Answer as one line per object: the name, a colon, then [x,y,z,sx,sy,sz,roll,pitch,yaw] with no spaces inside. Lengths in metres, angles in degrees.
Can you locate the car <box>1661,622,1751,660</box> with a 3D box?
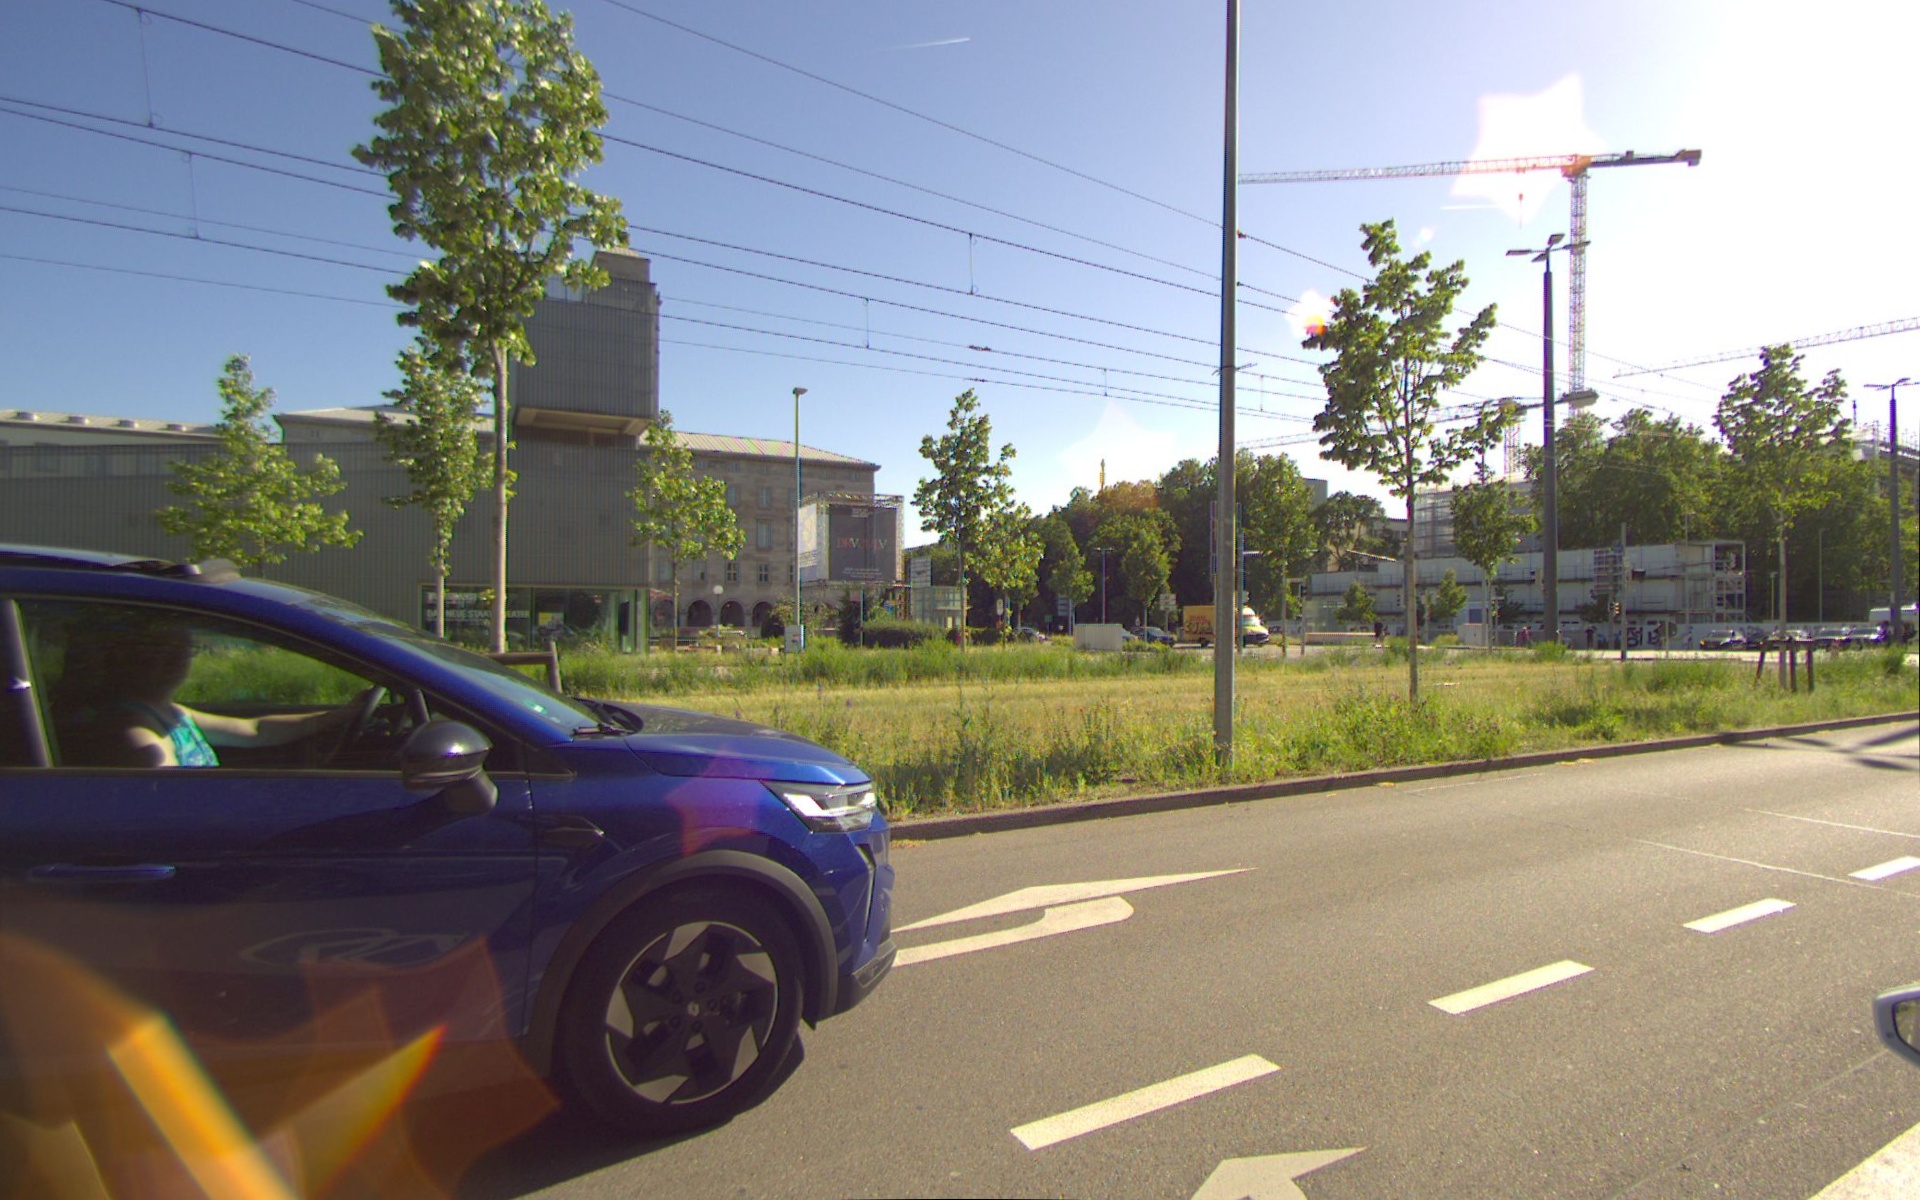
car: [25.930,1.423,34.895,3.184,1.194,1.369,2,0,-31]

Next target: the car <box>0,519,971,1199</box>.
car: [-2.159,0.655,2.922,4.106,1.644,1.735,1,0,-32]

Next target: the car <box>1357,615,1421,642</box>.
car: [27.418,1.823,64.126,3.953,1.577,1.702,2,0,-30]

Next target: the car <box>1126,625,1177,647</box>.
car: [13.558,2.522,71.224,1.578,1.458,3.975,1,-1,-25]

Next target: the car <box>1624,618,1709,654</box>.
car: [25.921,1.327,36.844,3.184,1.194,1.369,2,0,-31]

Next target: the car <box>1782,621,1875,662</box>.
car: [28.225,1.348,32.628,3.184,1.194,1.369,2,0,-31]

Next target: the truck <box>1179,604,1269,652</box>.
truck: [18.200,1.886,69.657,1.973,3.002,6.941,2,0,-26]

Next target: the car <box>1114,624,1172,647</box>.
car: [11.513,2.222,63.378,1.627,1.364,3.491,1,-1,-33]

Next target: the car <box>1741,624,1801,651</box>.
car: [52.868,2.456,65.492,3.851,1.634,1.828,2,0,-31]
